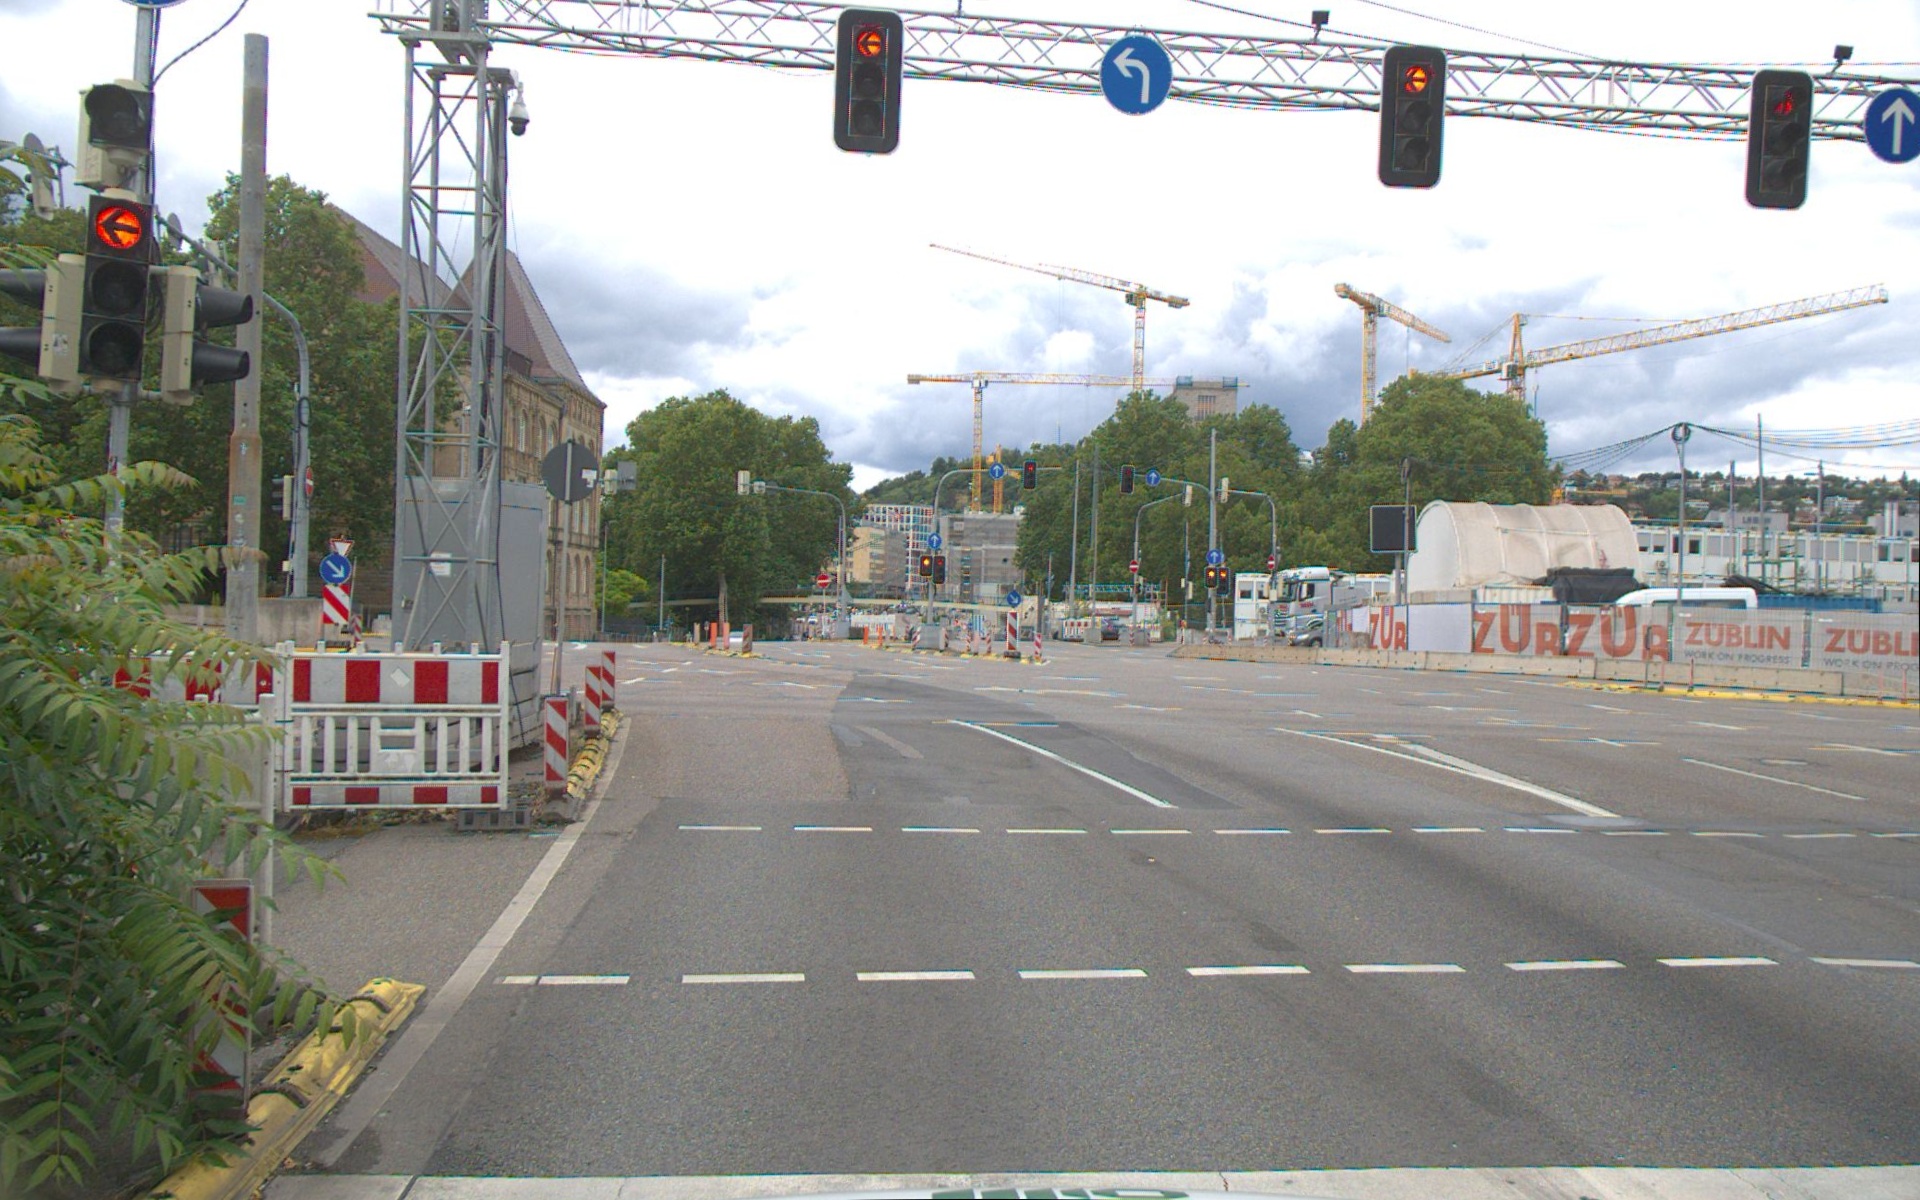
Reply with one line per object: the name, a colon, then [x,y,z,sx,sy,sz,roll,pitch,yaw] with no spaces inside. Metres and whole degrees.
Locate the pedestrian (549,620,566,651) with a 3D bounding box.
pedestrian: [-26.581,2.332,109.208,0.930,2.049,0.766,1,-1,1]

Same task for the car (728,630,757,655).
car: [-17.264,3.358,131.314,1.954,1.870,3.997,1,0,-3]

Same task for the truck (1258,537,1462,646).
truck: [19.650,-0.366,81.296,9.565,5.047,3.097,1,0,-19]

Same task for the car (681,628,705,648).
car: [-27.387,3.873,169.636,1.954,1.870,3.997,1,0,-3]

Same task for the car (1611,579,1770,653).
car: [21.052,0.449,47.825,3.902,2.049,2.001,1,0,15]

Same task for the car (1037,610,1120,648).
car: [6.674,1.628,93.064,4.180,2.049,1.998,1,0,26]

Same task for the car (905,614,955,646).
car: [-2.029,1.968,109.736,1.967,2.049,3.971,1,0,-23]

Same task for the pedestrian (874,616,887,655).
pedestrian: [-3.913,1.729,81.103,0.574,1.872,0.604,1,-1,-4]
